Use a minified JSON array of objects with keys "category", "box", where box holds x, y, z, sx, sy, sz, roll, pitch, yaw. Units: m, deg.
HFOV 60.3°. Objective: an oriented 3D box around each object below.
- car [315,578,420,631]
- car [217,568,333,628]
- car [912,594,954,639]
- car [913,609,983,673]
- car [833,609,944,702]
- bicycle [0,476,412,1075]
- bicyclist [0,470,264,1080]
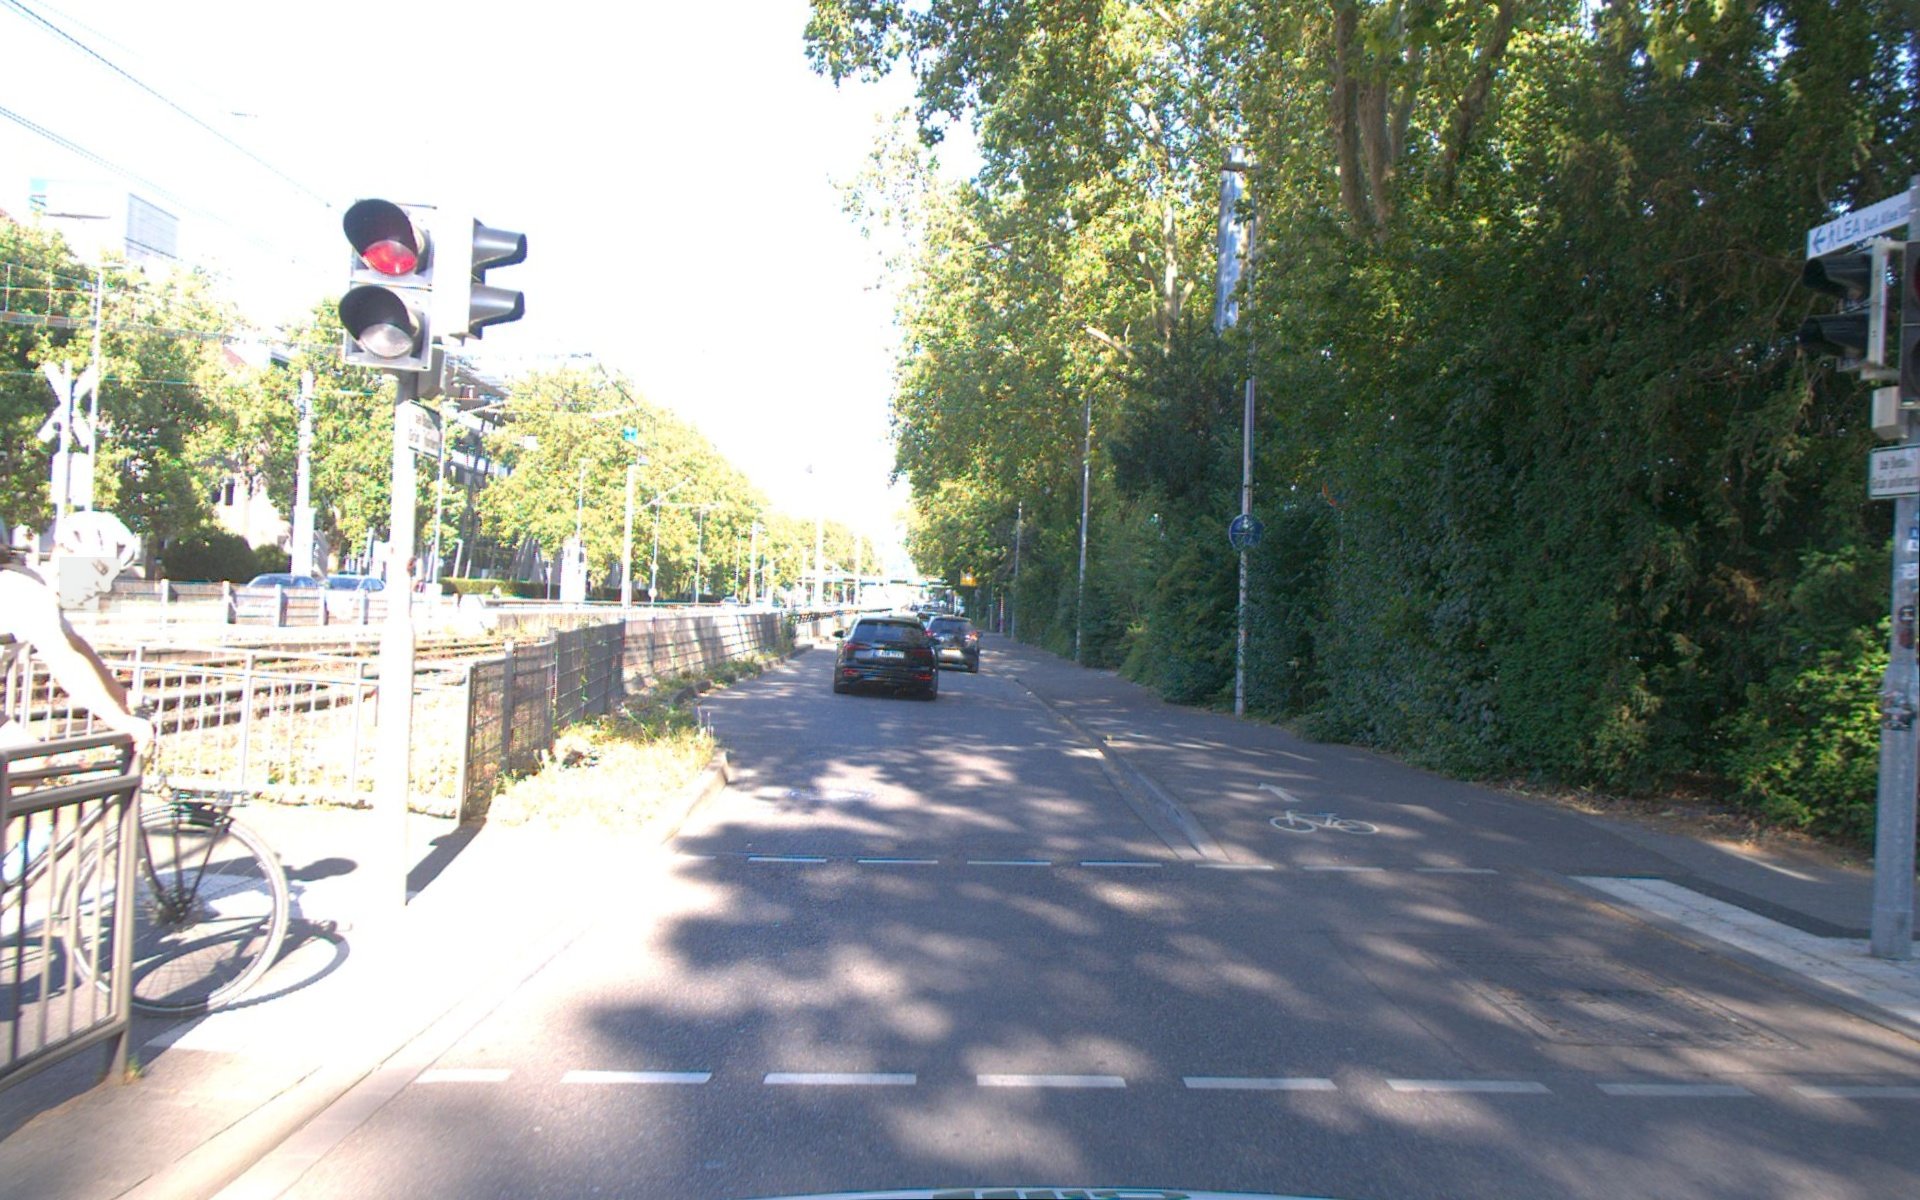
[{"category":"car","box":[-19.336,0.145,54.151,1.953,1.556,3.999,3,-1,-1]},{"category":"car","box":[-19.801,-0.041,47.989,1.704,1.574,3.999,3,-1,-1]},{"category":"car","box":[-1.316,0.796,81.728,1.953,2.049,3.999,2,0,-1]},{"category":"car","box":[-0.388,1.116,46.695,1.728,1.647,3.997,2,0,-3]},{"category":"car","box":[-1.318,0.963,30.113,1.841,1.482,3.354,3,0,-3]},{"category":"bicycle","box":[-2.816,0.515,5.212,0.581,1.746,1.959,2,-1,44]},{"category":"bicyclist","box":[-2.826,0.501,5.185,0.758,1.746,0.903,2,-1,44]}]
